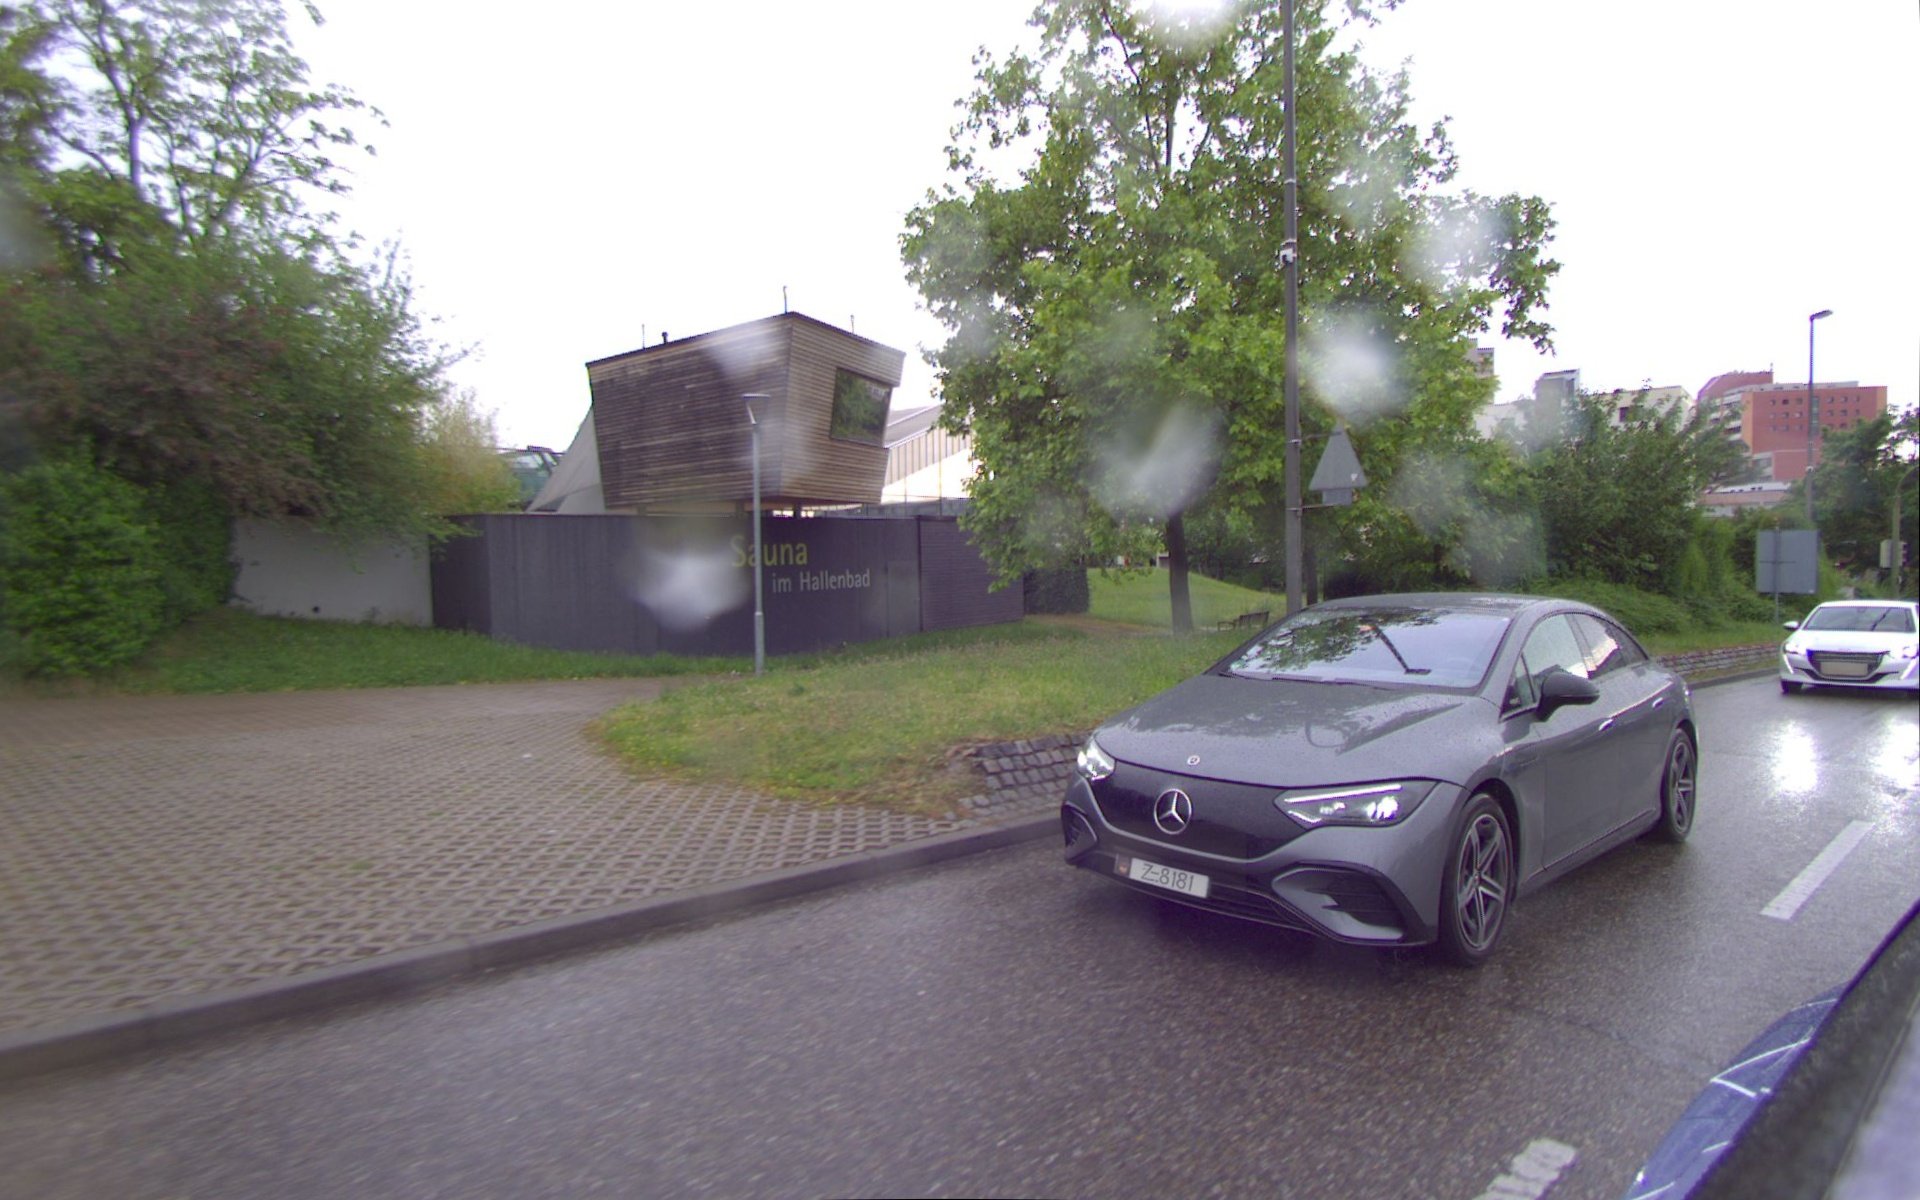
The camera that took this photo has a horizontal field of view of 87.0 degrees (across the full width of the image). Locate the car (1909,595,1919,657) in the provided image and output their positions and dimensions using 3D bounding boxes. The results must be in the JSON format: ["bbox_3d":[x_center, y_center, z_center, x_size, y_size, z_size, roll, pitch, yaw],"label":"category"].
[{"bbox_3d":[23.784,0.551,23.708,3.667,1.394,1.718,-2,0,-38],"label":"car"}]

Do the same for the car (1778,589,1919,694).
[{"bbox_3d":[14.621,0.569,16.045,3.963,1.415,1.718,-2,0,-38],"label":"car"}]

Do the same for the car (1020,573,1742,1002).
[{"bbox_3d":[2.600,0.616,5.641,4.470,1.462,1.835,-2,0,-40],"label":"car"}]
